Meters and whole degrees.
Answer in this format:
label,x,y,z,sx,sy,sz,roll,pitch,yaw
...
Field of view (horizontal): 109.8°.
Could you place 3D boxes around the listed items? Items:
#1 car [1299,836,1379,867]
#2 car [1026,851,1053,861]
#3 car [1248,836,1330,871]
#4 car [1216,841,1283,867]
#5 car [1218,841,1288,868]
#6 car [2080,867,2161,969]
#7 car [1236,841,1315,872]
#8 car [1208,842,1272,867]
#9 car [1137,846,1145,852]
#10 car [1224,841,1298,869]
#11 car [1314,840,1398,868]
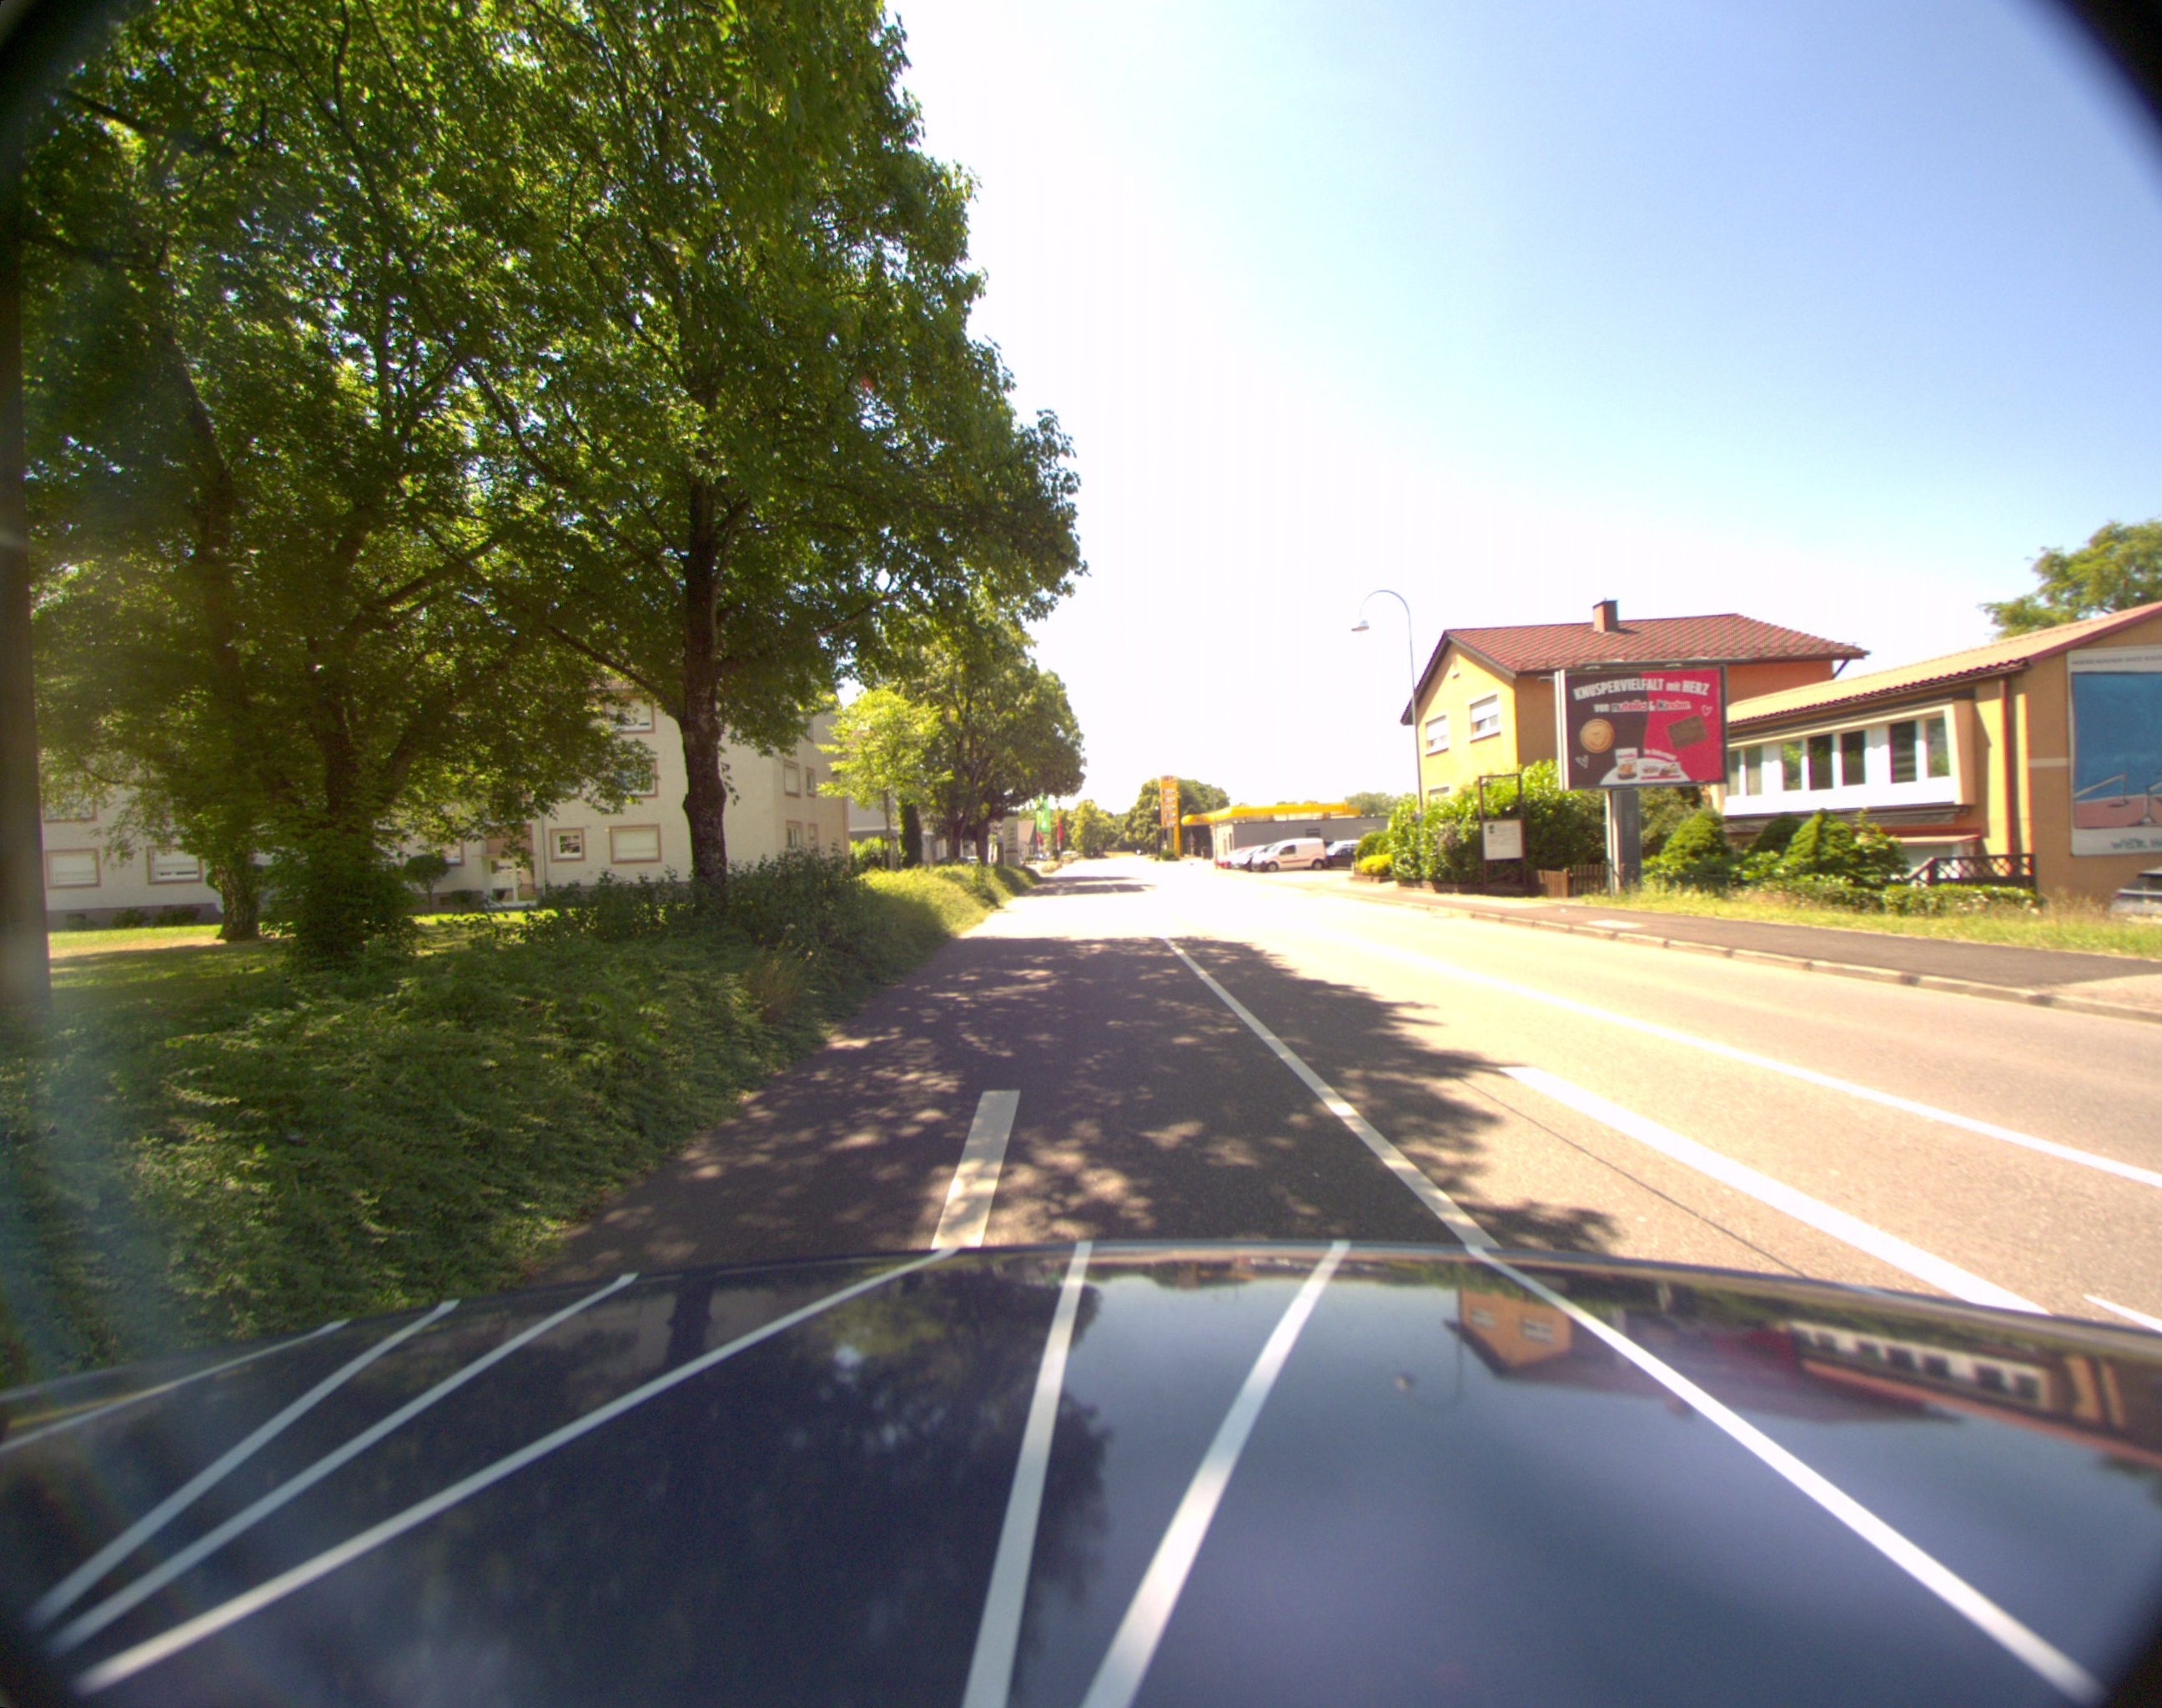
label,x,y,z,sx,sy,sz,roll,pitch,yaw
car,16.466,-0.143,48.624,4.402,1.815,1.874,-2,1,-5
car,-6.785,0.404,124.589,4.121,1.521,1.775,-1,1,20
car,12.137,-0.031,44.404,4.191,1.858,1.874,-2,1,-5
car,12.247,-0.015,55.419,4.402,1.750,1.874,-2,1,-5
car,12.027,0.029,53.332,4.402,1.750,1.874,-2,1,-5
car,19.794,1.022,12.395,4.224,1.599,1.772,-1,1,7
car,11.881,0.126,46.571,4.246,1.750,1.874,-2,1,-5
car,12.119,0.017,57.974,4.402,1.750,1.874,-2,1,-5
car,16.502,-1.487,208.576,1.808,1.552,4.065,-2,1,7
car,12.051,0.065,51.060,4.402,1.750,1.874,-2,1,-5
car,16.761,0.011,46.415,4.402,1.554,1.874,-2,1,-5
